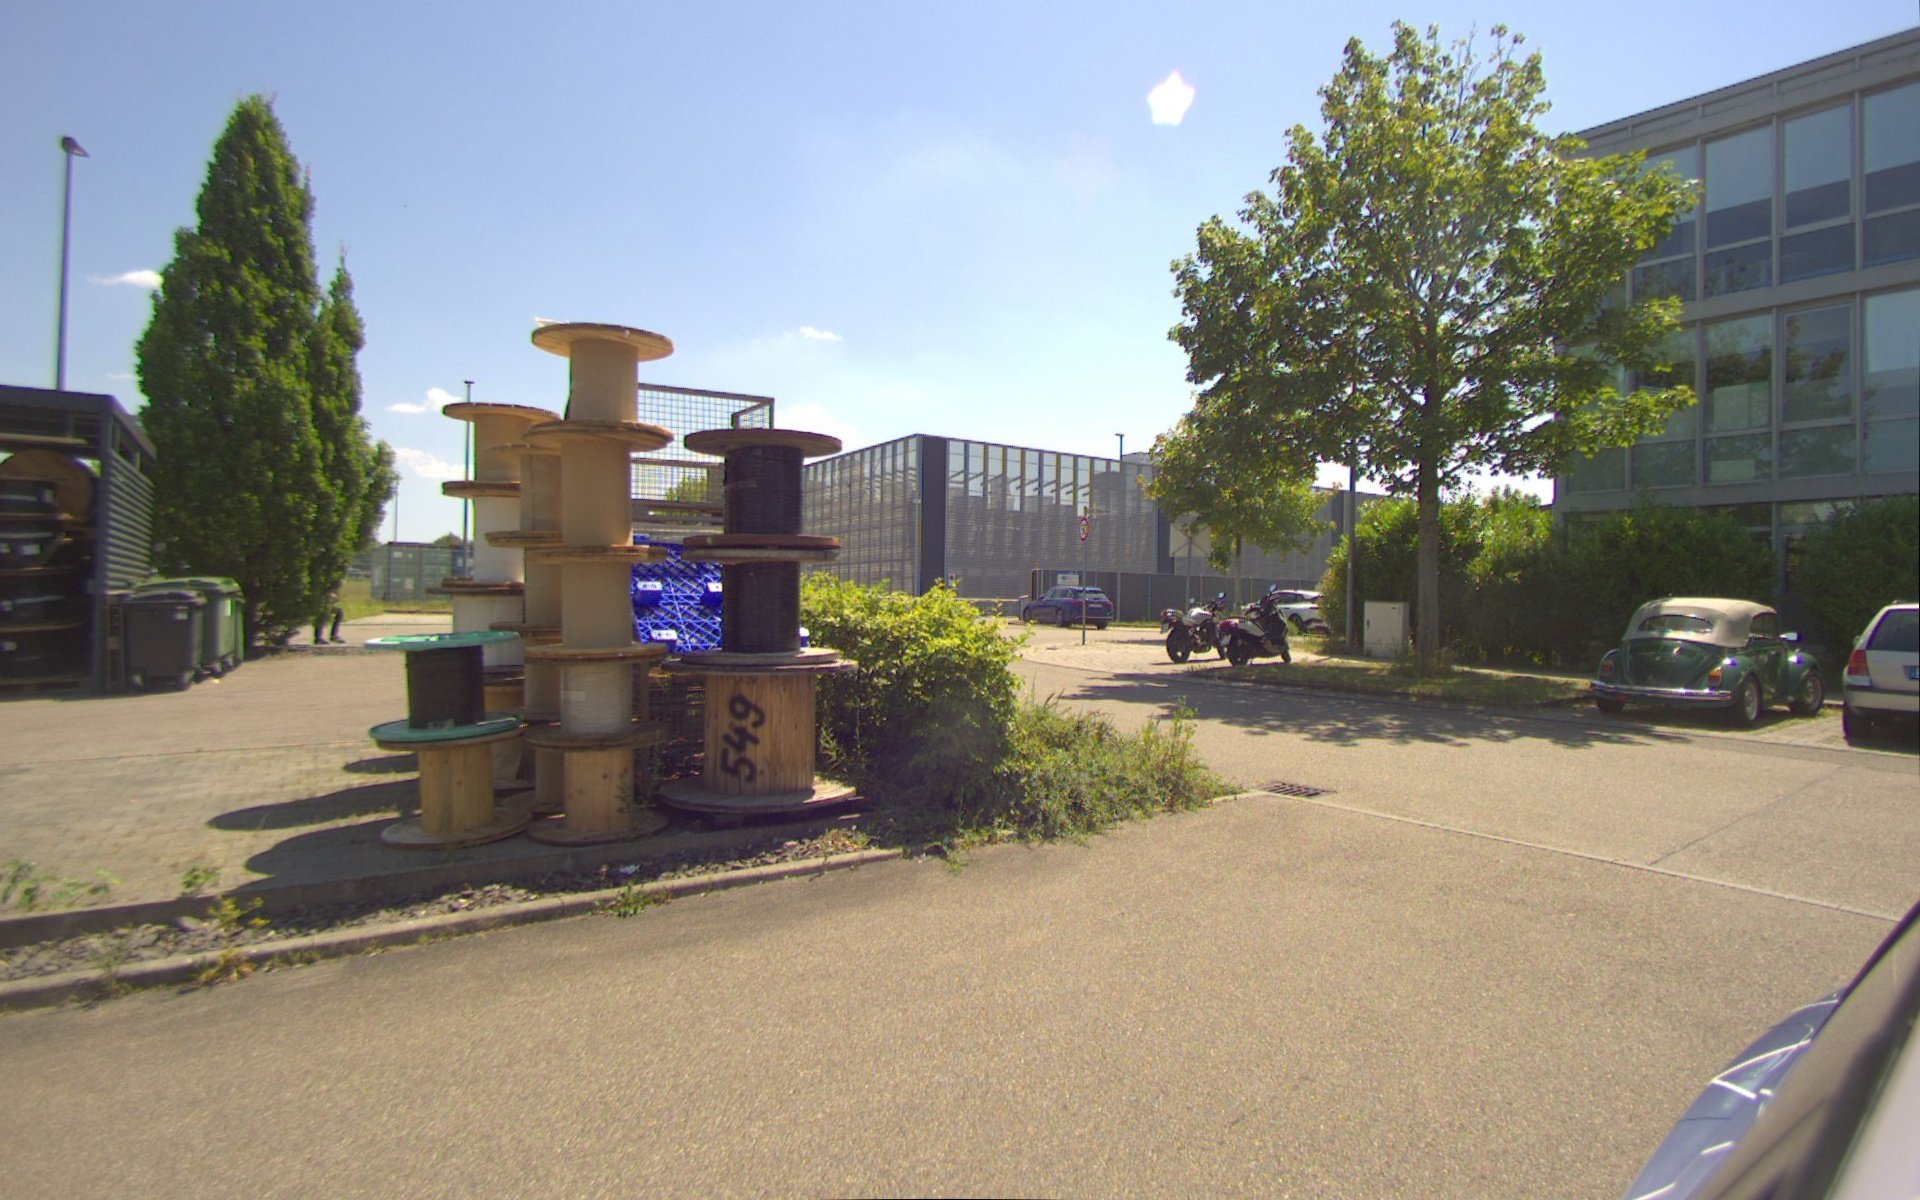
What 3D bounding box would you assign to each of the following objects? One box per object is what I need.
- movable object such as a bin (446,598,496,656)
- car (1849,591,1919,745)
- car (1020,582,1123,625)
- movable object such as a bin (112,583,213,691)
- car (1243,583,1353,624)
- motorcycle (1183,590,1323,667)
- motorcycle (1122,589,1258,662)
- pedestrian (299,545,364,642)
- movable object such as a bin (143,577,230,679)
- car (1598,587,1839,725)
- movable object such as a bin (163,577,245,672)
[{"bbox_3d":[-8.221,0.443,17.016,0.581,0.929,0.541,1,1,32],"label":"movable object such as a bin"},{"bbox_3d":[10.935,0.677,10.833,3.538,1.470,1.641,-1,2,-41],"label":"car"},{"bbox_3d":[3.897,0.093,36.199,1.820,1.427,4.456,1,1,-20],"label":"car"},{"bbox_3d":[-9.822,0.428,12.500,0.785,1.265,0.878,0,1,-25],"label":"movable object such as a bin"},{"bbox_3d":[13.050,0.101,39.367,1.743,1.494,4.425,1,1,-18],"label":"car"},{"bbox_3d":[5.282,0.461,18.144,2.782,1.275,0.874,0,1,-36],"label":"motorcycle"},{"bbox_3d":[4.376,0.441,19.137,2.782,1.275,0.874,0,1,-36],"label":"motorcycle"},{"bbox_3d":[-11.933,-0.126,19.237,0.753,1.790,0.810,1,1,-5],"label":"pedestrian"},{"bbox_3d":[-10.406,0.355,13.645,0.785,1.314,0.757,0,1,-25],"label":"movable object such as a bin"},{"bbox_3d":[9.523,0.592,12.641,3.356,1.463,1.522,0,2,-37],"label":"car"},{"bbox_3d":[-10.761,0.325,14.432,0.785,1.314,0.811,0,1,-25],"label":"movable object such as a bin"}]
